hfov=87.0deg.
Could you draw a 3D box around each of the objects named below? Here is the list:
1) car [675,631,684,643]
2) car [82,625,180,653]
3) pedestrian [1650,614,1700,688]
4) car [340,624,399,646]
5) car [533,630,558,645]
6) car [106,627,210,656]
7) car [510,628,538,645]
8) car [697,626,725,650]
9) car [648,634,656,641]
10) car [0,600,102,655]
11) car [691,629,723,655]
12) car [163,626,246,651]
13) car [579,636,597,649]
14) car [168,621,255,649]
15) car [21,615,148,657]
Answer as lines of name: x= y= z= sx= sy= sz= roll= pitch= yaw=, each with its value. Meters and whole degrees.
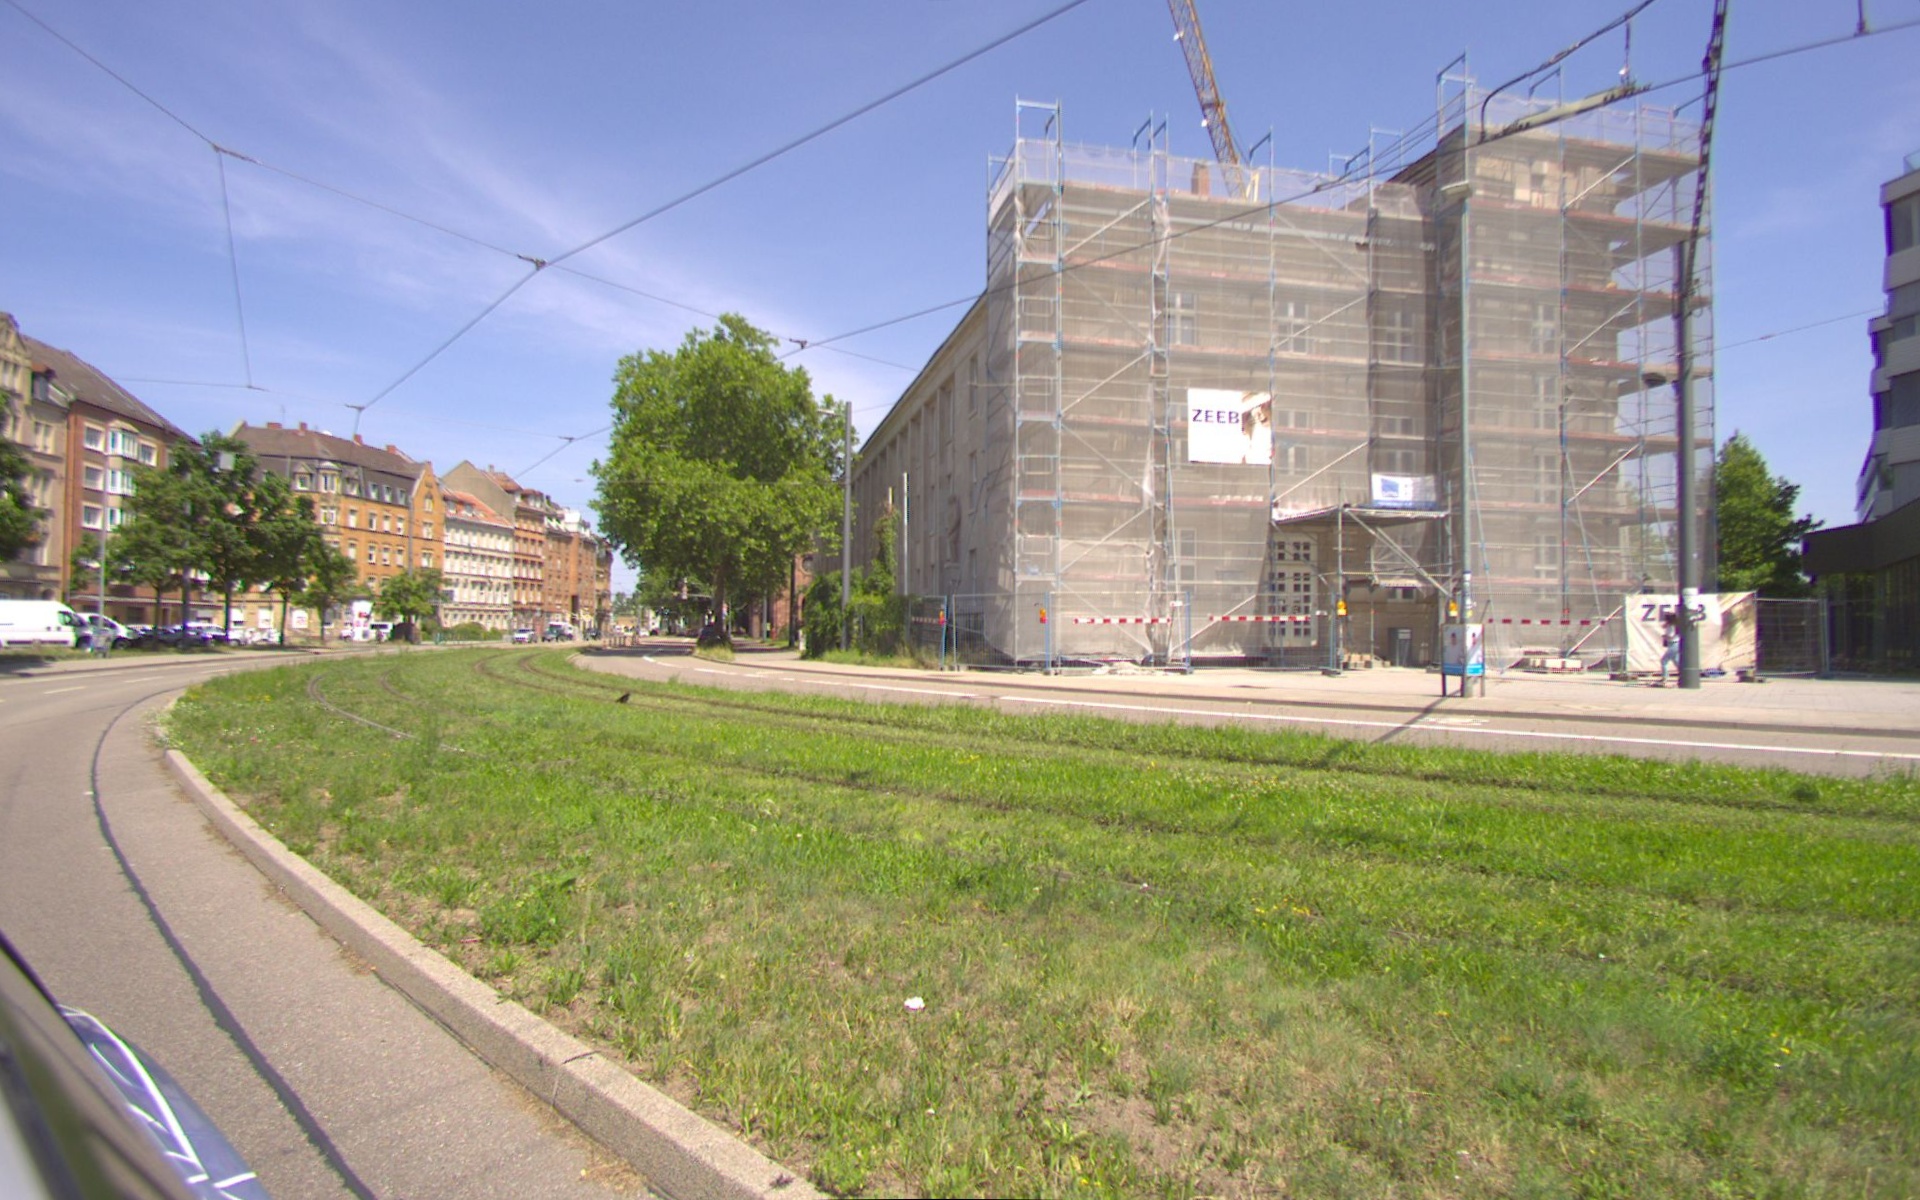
car: x=-58.728 y=7.774 z=211.899 sx=1.791 sy=2.314 sz=3.773 roll=-1 pitch=-2 yaw=-16
car: x=-44.714 y=2.078 z=54.684 sx=3.933 sy=1.397 sz=1.828 roll=0 pitch=-2 yaw=-35
pedestrian: x=14.973 y=1.060 z=21.212 sx=0.573 sy=1.530 sz=0.589 roll=-1 pitch=-2 yaw=0
car: x=-57.555 y=3.393 z=98.750 sx=4.770 sy=1.953 sz=2.174 roll=0 pitch=-2 yaw=-27
car: x=-44.957 y=4.071 z=109.791 sx=1.772 sy=1.586 sz=4.010 roll=-1 pitch=-2 yaw=-12
car: x=-45.633 y=2.327 z=57.717 sx=4.558 sy=1.508 sz=1.969 roll=0 pitch=-2 yaw=-38
car: x=-42.200 y=3.493 z=98.055 sx=1.772 sy=1.586 sz=4.010 roll=-1 pitch=-2 yaw=-12
car: x=-19.360 y=2.946 z=78.756 sx=1.967 sy=1.825 sz=4.311 roll=-1 pitch=-2 yaw=-12
car: x=-73.120 y=8.927 z=240.566 sx=1.722 sy=1.405 sz=4.359 roll=-2 pitch=-1 yaw=-17
car: x=-44.049 y=1.289 z=47.482 sx=2.236 sy=2.479 sz=5.478 roll=-3 pitch=-2 yaw=40
car: x=-14.829 y=2.424 z=59.177 sx=1.566 sy=1.434 sz=4.336 roll=-1 pitch=-2 yaw=-17
car: x=-45.533 y=2.336 z=61.105 sx=3.933 sy=1.410 sz=1.828 roll=0 pitch=-2 yaw=-35
car: x=-48.589 y=5.514 z=132.300 sx=1.771 sy=1.586 sz=4.011 roll=-1 pitch=-2 yaw=-15
car: x=-47.205 y=2.188 z=63.920 sx=4.340 sy=1.644 sz=2.005 roll=0 pitch=-2 yaw=-35
car: x=-44.314 y=1.811 z=51.316 sx=4.774 sy=1.988 sz=2.079 roll=0 pitch=-2 yaw=-43
